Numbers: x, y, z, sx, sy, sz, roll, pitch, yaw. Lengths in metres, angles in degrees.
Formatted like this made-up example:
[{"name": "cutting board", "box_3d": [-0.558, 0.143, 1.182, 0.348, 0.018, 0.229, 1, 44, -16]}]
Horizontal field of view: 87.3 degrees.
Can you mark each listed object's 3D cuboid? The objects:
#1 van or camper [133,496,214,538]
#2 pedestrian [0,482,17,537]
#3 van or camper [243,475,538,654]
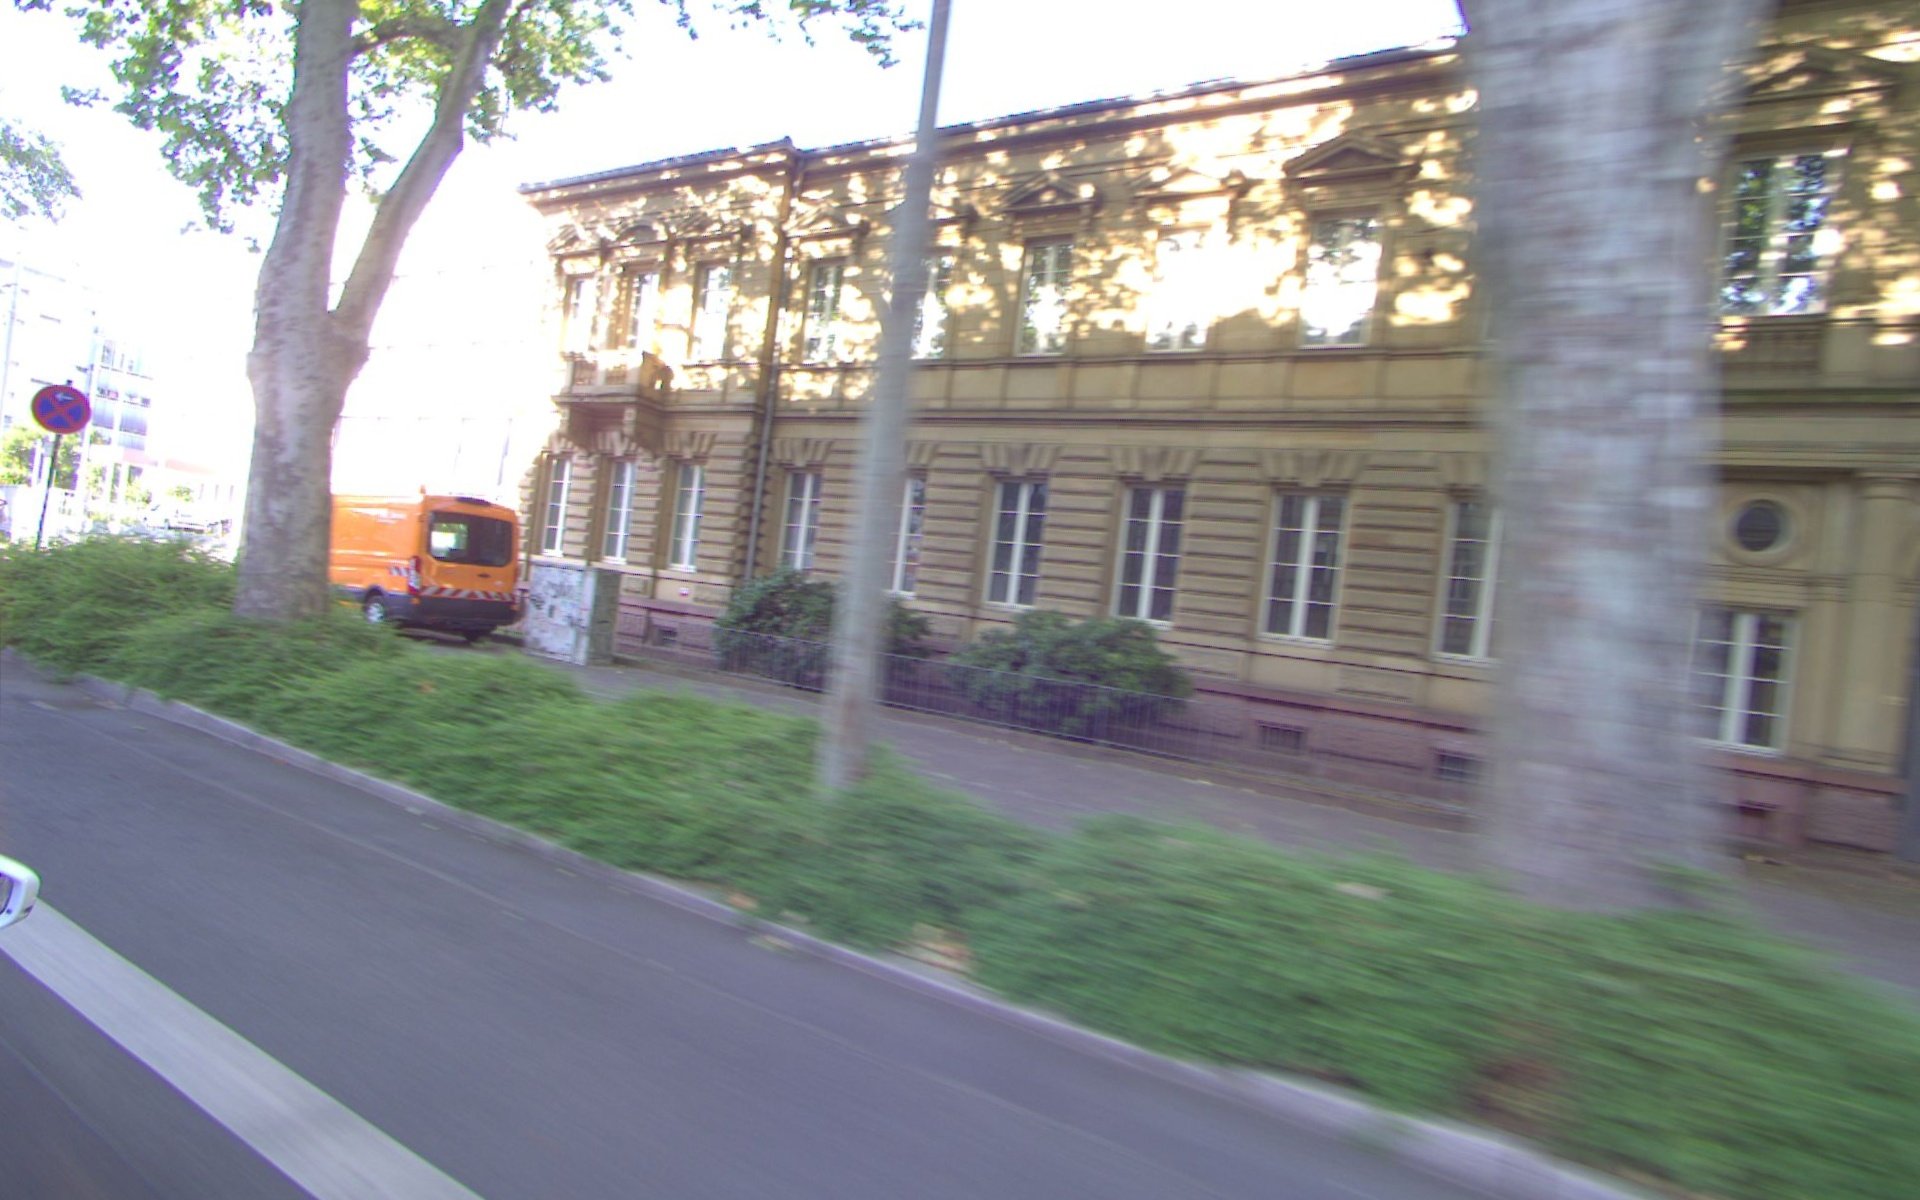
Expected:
[{"name": "van or camper", "box_3d": [-47.192, -4.960, 60.335, 4.915, 1.932, 1.984, 7, 0, 30]}, {"name": "pedestrian", "box_3d": [-30.658, -2.908, 31.994, 0.692, 1.704, 0.921, 7, 0, -36]}, {"name": "van or camper", "box_3d": [-10.508, -0.713, 18.378, 5.678, 2.590, 2.039, 7, -1, 32]}]
